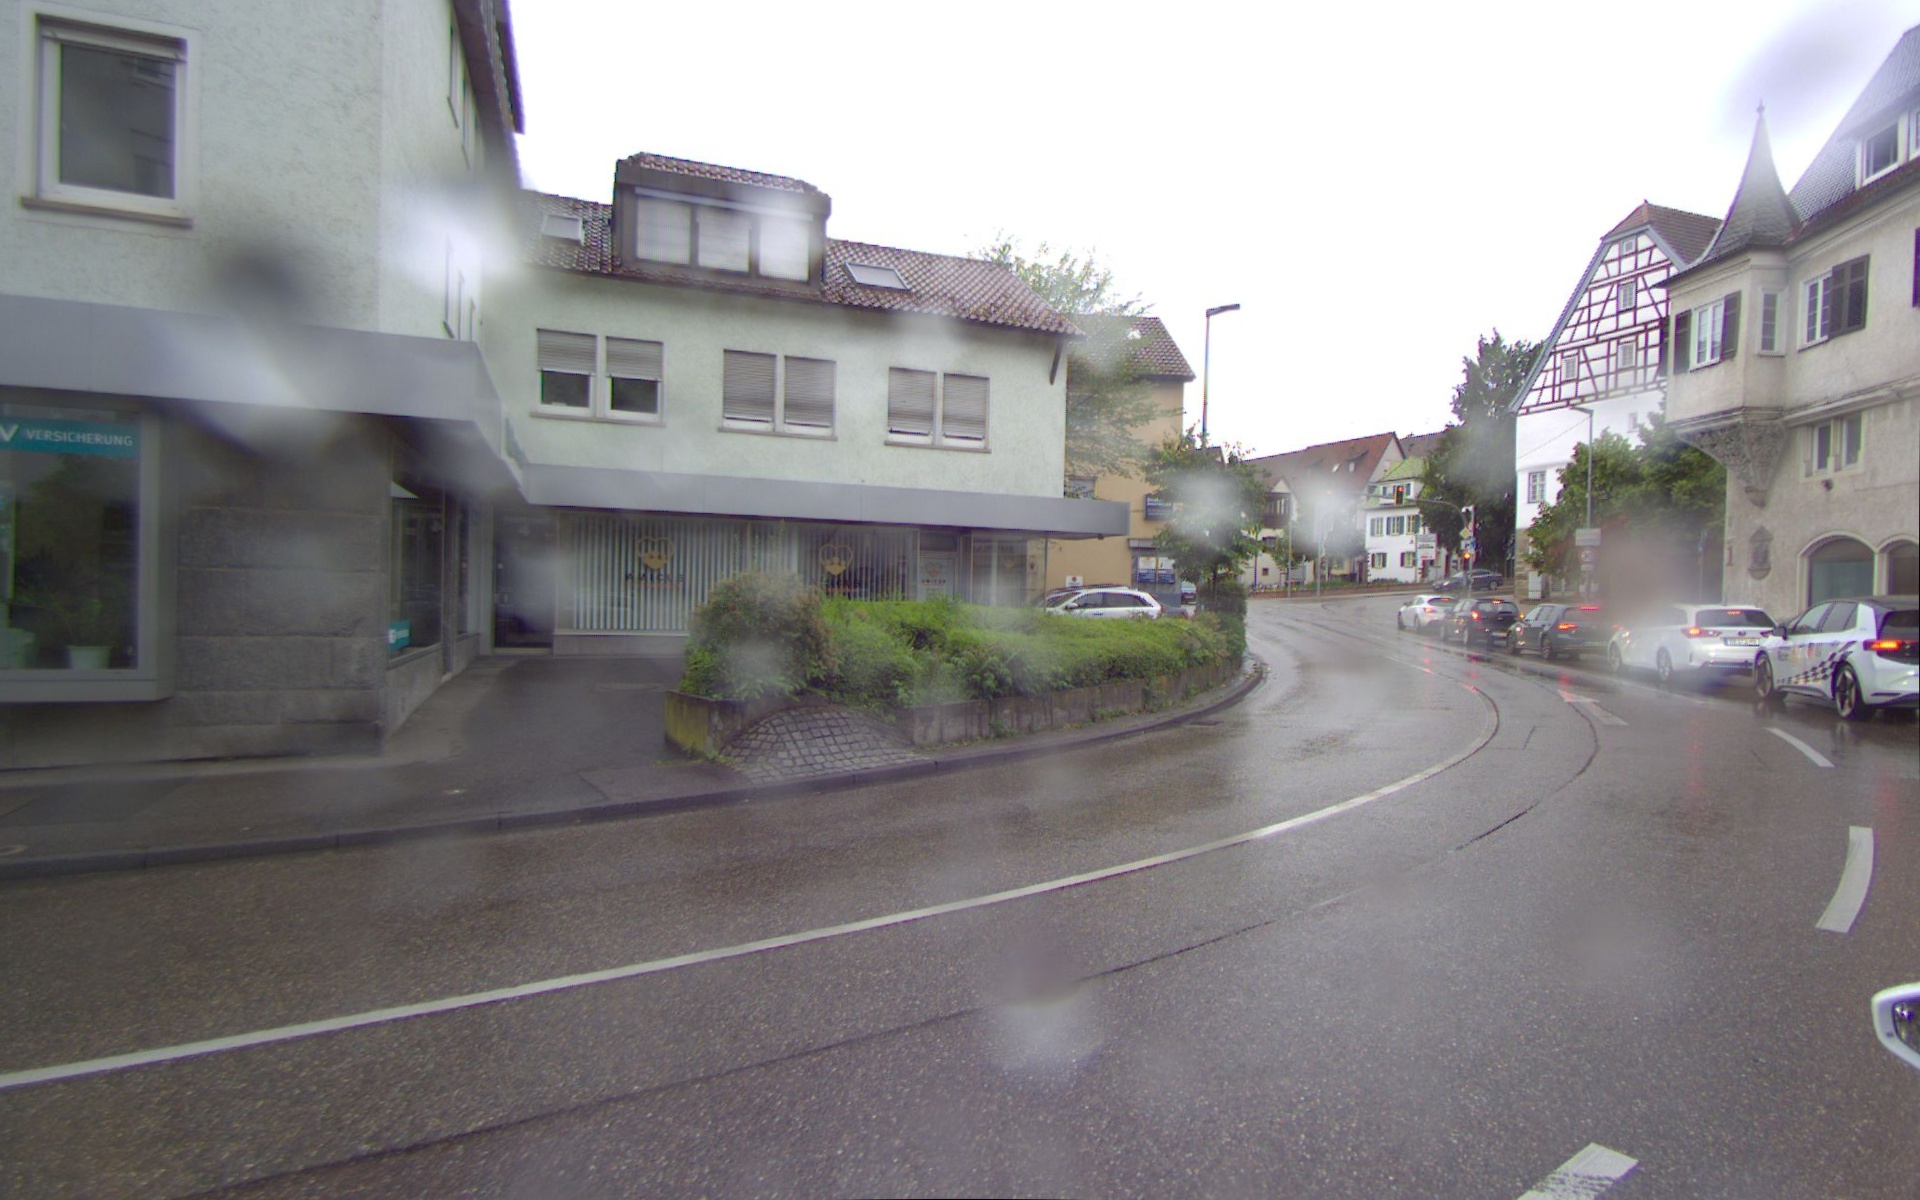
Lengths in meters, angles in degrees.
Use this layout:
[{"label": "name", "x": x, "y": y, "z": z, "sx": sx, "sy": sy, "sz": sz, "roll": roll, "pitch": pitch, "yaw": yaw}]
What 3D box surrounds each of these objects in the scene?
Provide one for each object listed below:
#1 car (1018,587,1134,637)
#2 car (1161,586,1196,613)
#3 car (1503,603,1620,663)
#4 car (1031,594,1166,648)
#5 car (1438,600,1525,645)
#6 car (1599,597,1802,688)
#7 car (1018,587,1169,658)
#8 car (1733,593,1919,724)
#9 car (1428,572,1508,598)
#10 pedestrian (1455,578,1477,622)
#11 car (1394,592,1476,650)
[{"label": "car", "x": 3.769, "y": 0.375, "z": 32.945, "sx": 3.473, "sy": 1.597, "sz": 1.710, "roll": 0, "pitch": 1, "yaw": -9}, {"label": "car", "x": 13.006, "y": -0.022, "z": 59.714, "sx": 1.703, "sy": 1.530, "sz": 4.275, "roll": -1, "pitch": -1, "yaw": 16}, {"label": "car", "x": 15.673, "y": 0.822, "z": 26.370, "sx": 1.493, "sy": 1.380, "sz": 3.769, "roll": -1, "pitch": 1, "yaw": 12}, {"label": "car", "x": 3.888, "y": 0.575, "z": 28.496, "sx": 3.473, "sy": 1.475, "sz": 1.710, "roll": 0, "pitch": 1, "yaw": -9}, {"label": "car", "x": 16.930, "y": 0.688, "z": 32.767, "sx": 1.634, "sy": 1.330, "sz": 3.625, "roll": -1, "pitch": 1, "yaw": 12}, {"label": "car", "x": 14.021, "y": 0.731, "z": 19.323, "sx": 1.755, "sy": 1.485, "sz": 4.165, "roll": -1, "pitch": 1, "yaw": 15}, {"label": "car", "x": 3.337, "y": 0.536, "z": 25.439, "sx": 3.473, "sy": 1.708, "sz": 1.710, "roll": 0, "pitch": 1, "yaw": -9}, {"label": "car", "x": 12.310, "y": 0.693, "z": 13.649, "sx": 1.760, "sy": 1.537, "sz": 4.240, "roll": -1, "pitch": -1, "yaw": 22}, {"label": "car", "x": 33.127, "y": -0.989, "z": 65.552, "sx": 4.447, "sy": 1.409, "sz": 1.648, "roll": 1, "pitch": 7, "yaw": -9}, {"label": "pedestrian", "x": 27.598, "y": -0.008, "z": 54.765, "sx": 0.851, "sy": 2.357, "sz": 1.231, "roll": 1, "pitch": 0, "yaw": 18}, {"label": "car", "x": 18.530, "y": 0.764, "z": 39.387, "sx": 1.939, "sy": 2.118, "sz": 3.962, "roll": -1, "pitch": 1, "yaw": 10}]
